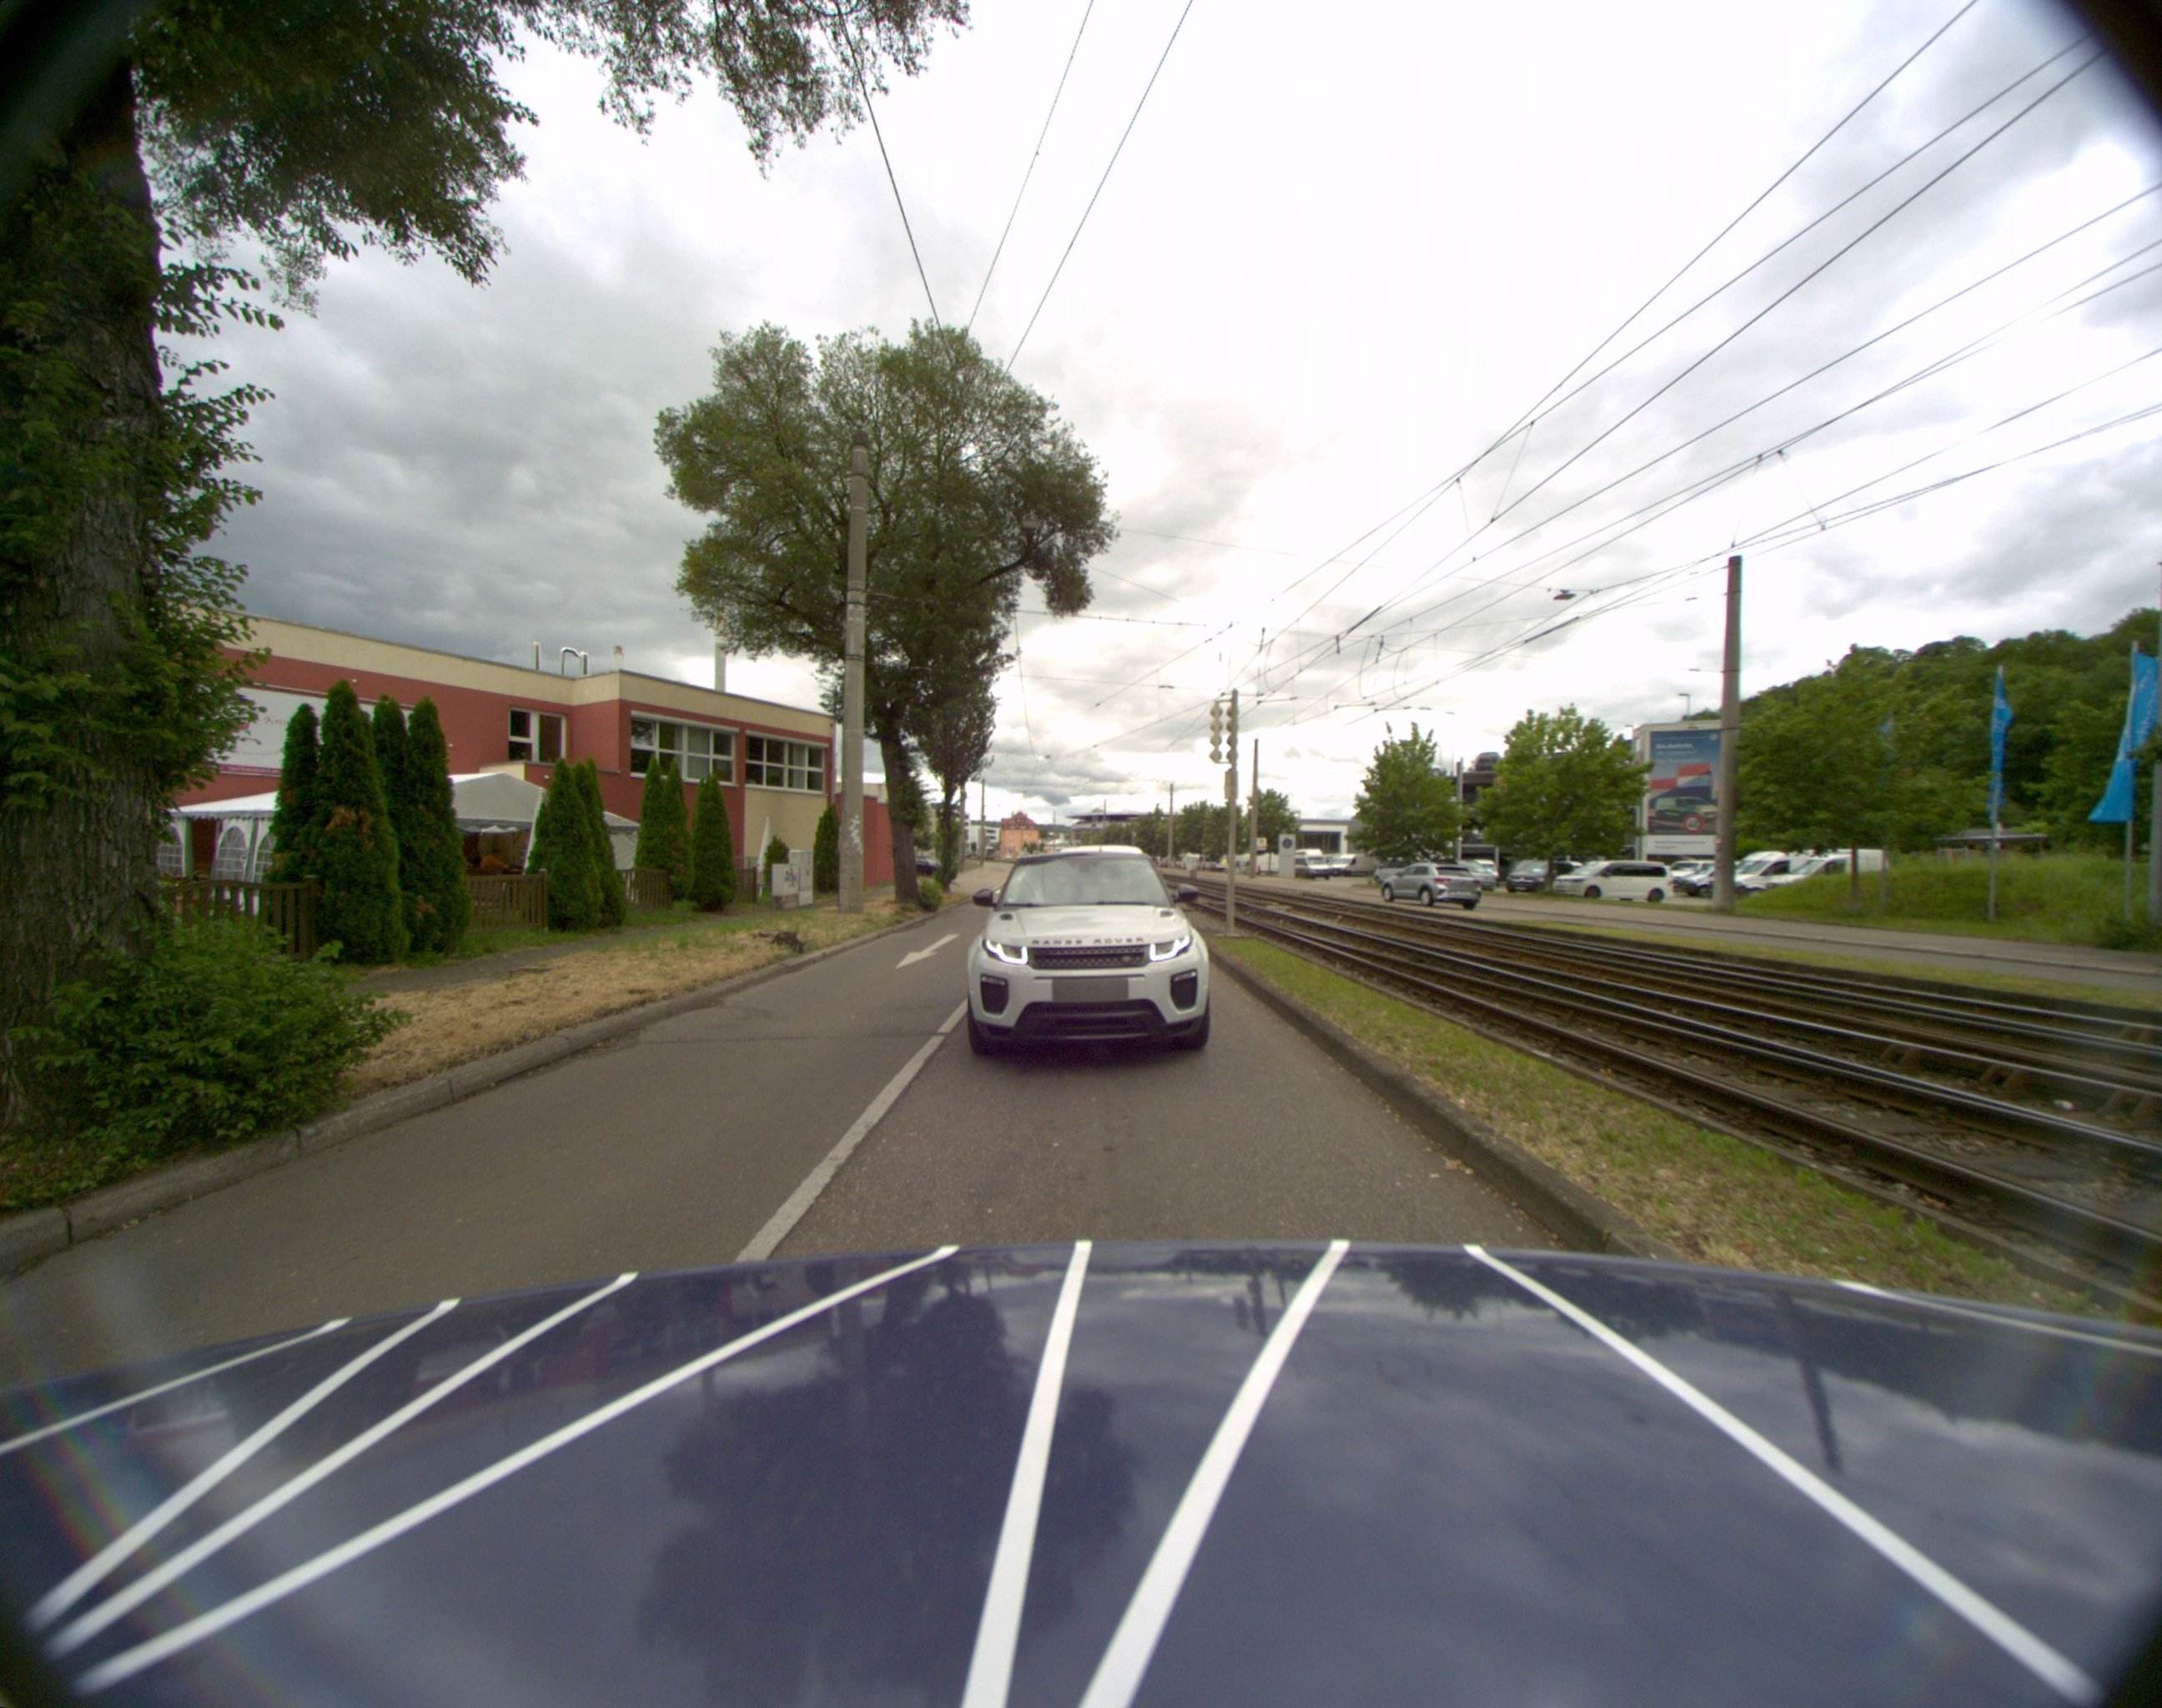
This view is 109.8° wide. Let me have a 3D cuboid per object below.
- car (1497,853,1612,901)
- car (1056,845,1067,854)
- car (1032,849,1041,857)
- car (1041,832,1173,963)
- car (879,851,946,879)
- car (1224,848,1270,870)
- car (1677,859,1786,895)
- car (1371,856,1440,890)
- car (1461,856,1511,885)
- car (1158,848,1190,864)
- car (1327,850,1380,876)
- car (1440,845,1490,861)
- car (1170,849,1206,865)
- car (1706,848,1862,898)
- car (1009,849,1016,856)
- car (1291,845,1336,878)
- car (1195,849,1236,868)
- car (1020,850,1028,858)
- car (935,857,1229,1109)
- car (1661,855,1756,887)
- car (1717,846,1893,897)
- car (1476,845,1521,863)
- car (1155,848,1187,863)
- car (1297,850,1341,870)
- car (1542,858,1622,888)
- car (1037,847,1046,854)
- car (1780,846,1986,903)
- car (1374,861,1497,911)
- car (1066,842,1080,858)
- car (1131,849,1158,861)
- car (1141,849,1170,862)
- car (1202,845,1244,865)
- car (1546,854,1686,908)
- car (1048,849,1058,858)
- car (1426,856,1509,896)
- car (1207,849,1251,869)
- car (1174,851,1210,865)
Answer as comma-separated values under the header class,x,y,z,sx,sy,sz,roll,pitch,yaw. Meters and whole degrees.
class,x,y,z,sx,sy,sz,roll,pitch,yaw
car,24.643,1.159,39.666,4.774,2.254,1.979,-2,1,-3
car,-4.619,-1.054,178.515,2.000,2.002,3.997,-2,1,-7
car,-11.421,-0.263,193.761,2.000,2.002,3.997,-2,1,-7
car,0.400,0.643,14.051,1.998,1.990,5.033,0,1,0
car,-10.975,0.671,49.727,3.999,1.636,1.895,-2,1,-6
car,18.792,0.552,86.089,4.639,2.196,2.107,-2,1,-8
car,36.668,1.281,42.984,4.228,1.826,1.983,-2,1,19
car,22.139,1.236,52.103,2.142,2.104,4.772,-2,1,-8
car,28.893,1.144,54.408,1.900,1.882,4.600,-2,1,12
car,14.774,0.307,120.486,4.639,2.196,2.107,-2,1,-8
car,30.338,0.969,84.564,6.057,2.608,2.316,-3,1,-34
car,46.351,-0.117,91.797,5.216,1.826,1.983,-2,1,21
car,15.555,0.388,110.534,4.639,2.196,2.107,-2,1,-8
car,36.763,1.001,39.929,5.652,2.446,1.983,-2,1,19
car,-20.745,-0.342,230.800,2.000,2.002,3.997,-2,1,-7
car,22.415,0.672,73.594,2.320,2.994,6.157,-2,1,0
car,17.114,0.535,96.454,4.639,2.196,2.107,-2,1,-8
car,-15.383,0.079,206.054,2.000,2.002,3.997,-2,1,-7
car,0.006,0.890,7.317,1.998,1.680,4.268,0,1,0
car,39.887,1.066,48.395,4.228,1.826,1.983,-2,1,19
car,34.948,0.854,36.935,5.839,2.254,2.056,-2,1,22
car,47.132,-0.032,85.919,4.227,1.826,1.983,-2,1,21
car,14.497,0.290,122.921,4.639,2.196,2.107,-2,1,-8
car,29.132,0.715,93.027,4.636,2.196,2.108,-2,1,-1
car,34.412,1.298,52.315,4.228,1.826,1.983,-2,1,19
car,-10.616,-0.968,205.073,2.000,2.002,3.997,-2,1,-7
car,34.685,0.907,33.126,5.850,2.254,2.056,-2,1,22
car,12.555,1.081,27.232,2.000,1.569,4.174,1,0,-8
car,-1.639,-0.864,146.483,2.410,2.931,4.747,-2,1,-2
car,11.862,0.185,141.320,4.639,2.196,2.107,-2,1,-8
car,13.027,0.235,132.838,4.639,2.196,2.107,-2,1,-8
car,17.504,0.136,93.612,4.639,2.196,2.107,-2,1,-8
car,25.280,1.237,35.999,5.269,2.254,1.999,-2,1,-3
car,-6.240,-0.158,168.916,2.000,2.002,3.997,-2,1,-7
car,23.156,1.262,45.758,2.142,2.104,4.773,-2,1,-7
car,17.712,0.601,91.176,4.639,2.196,2.107,-2,1,-8
car,15.778,0.590,108.132,4.639,1.829,2.107,-2,1,-8
